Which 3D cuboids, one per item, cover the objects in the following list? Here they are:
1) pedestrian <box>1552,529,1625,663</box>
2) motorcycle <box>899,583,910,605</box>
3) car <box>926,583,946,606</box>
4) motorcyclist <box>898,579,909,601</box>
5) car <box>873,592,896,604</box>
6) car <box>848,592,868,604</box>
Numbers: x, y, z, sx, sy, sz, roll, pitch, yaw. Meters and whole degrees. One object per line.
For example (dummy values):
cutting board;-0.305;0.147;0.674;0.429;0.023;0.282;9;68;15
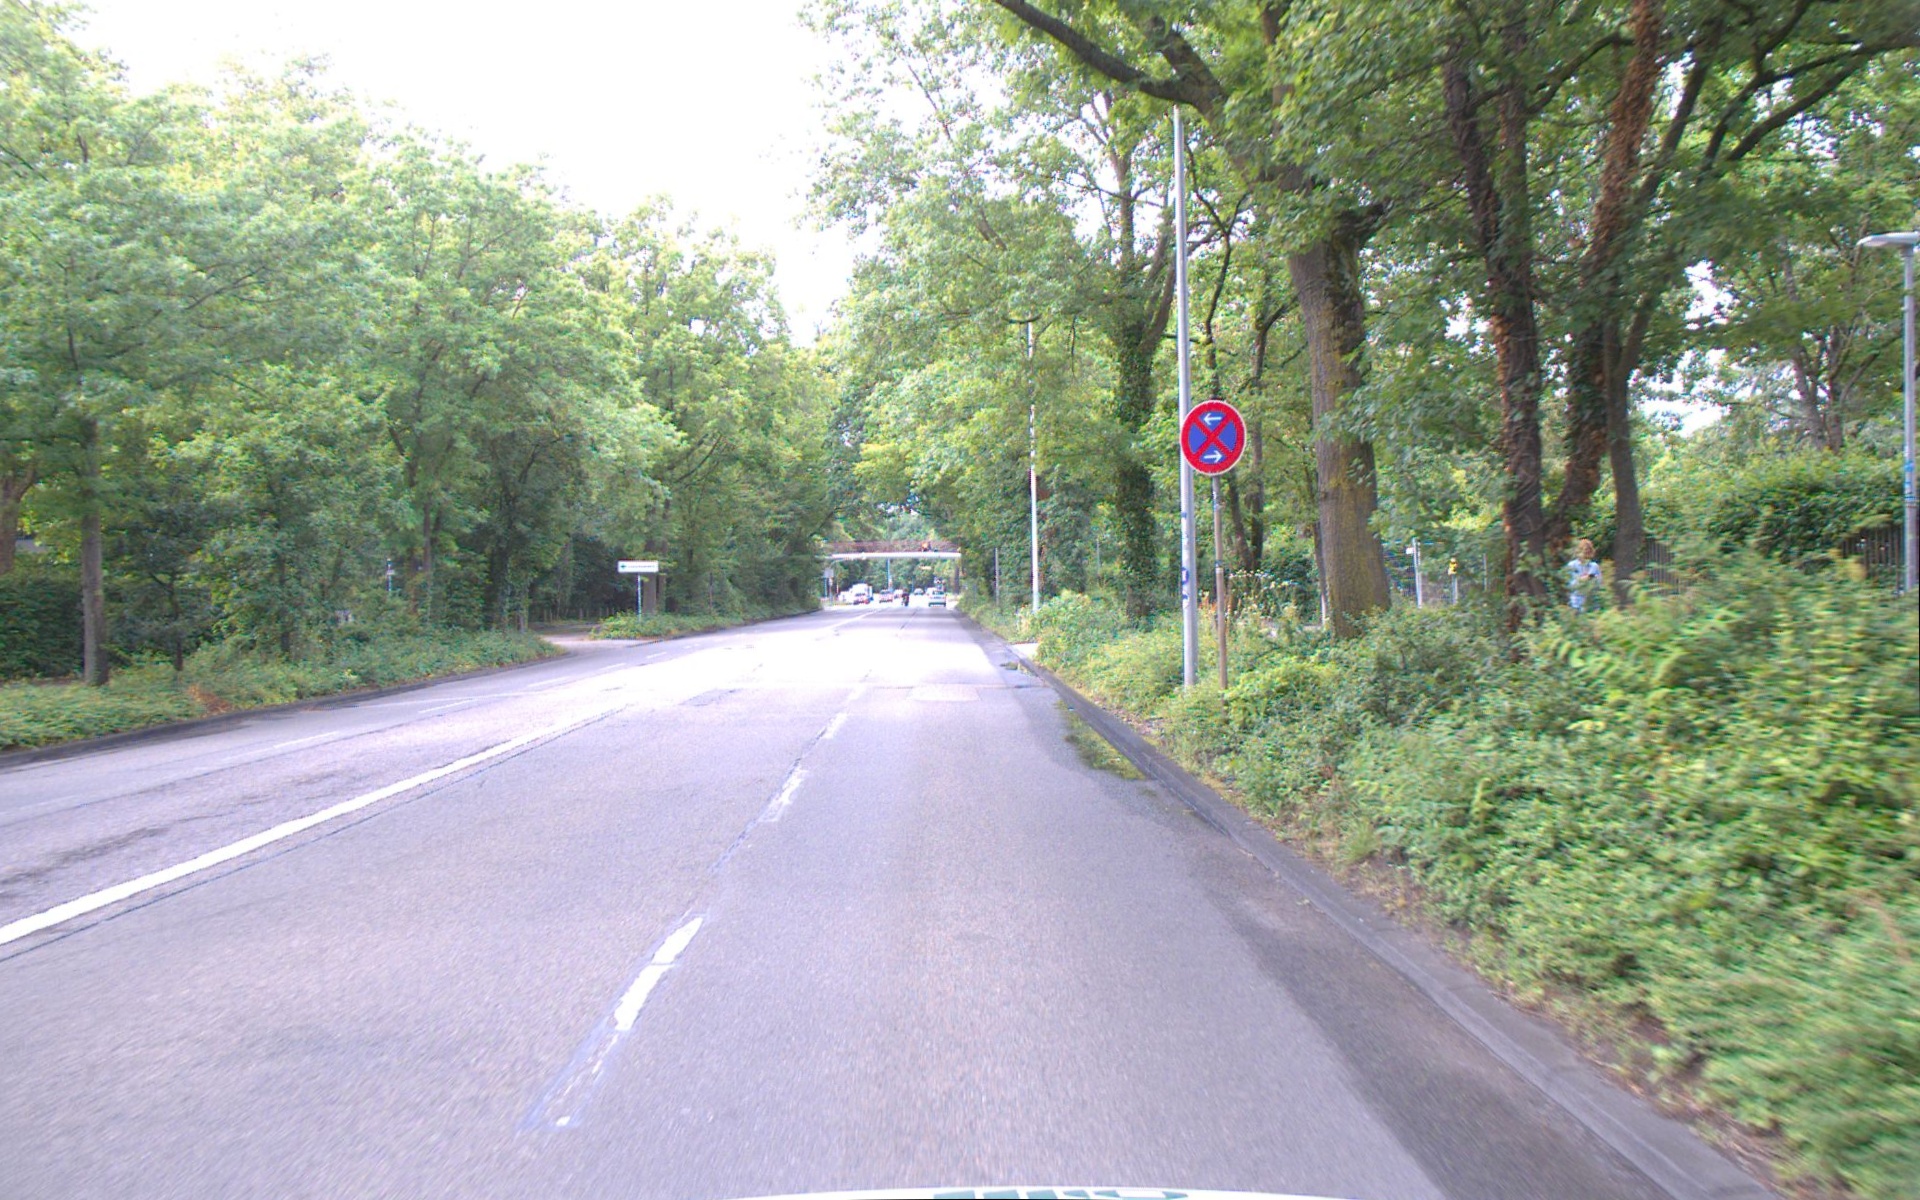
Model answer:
pedestrian;8.141;-0.058;21.462;0.561;1.680;0.820;-2;0;-1
motorcycle;-5.137;-0.564;153.539;0.970;1.970;2.668;0;0;-1
car;-2.155;-0.523;149.976;1.806;2.049;3.999;0;0;-1
motorcyclist;-5.242;-0.931;153.331;1.042;2.049;0.842;0;0;-1
car;-8.992;-0.273;196.933;1.639;1.386;3.924;0;0;14
car;-12.100;-0.247;196.448;1.952;1.377;3.895;0;0;2
